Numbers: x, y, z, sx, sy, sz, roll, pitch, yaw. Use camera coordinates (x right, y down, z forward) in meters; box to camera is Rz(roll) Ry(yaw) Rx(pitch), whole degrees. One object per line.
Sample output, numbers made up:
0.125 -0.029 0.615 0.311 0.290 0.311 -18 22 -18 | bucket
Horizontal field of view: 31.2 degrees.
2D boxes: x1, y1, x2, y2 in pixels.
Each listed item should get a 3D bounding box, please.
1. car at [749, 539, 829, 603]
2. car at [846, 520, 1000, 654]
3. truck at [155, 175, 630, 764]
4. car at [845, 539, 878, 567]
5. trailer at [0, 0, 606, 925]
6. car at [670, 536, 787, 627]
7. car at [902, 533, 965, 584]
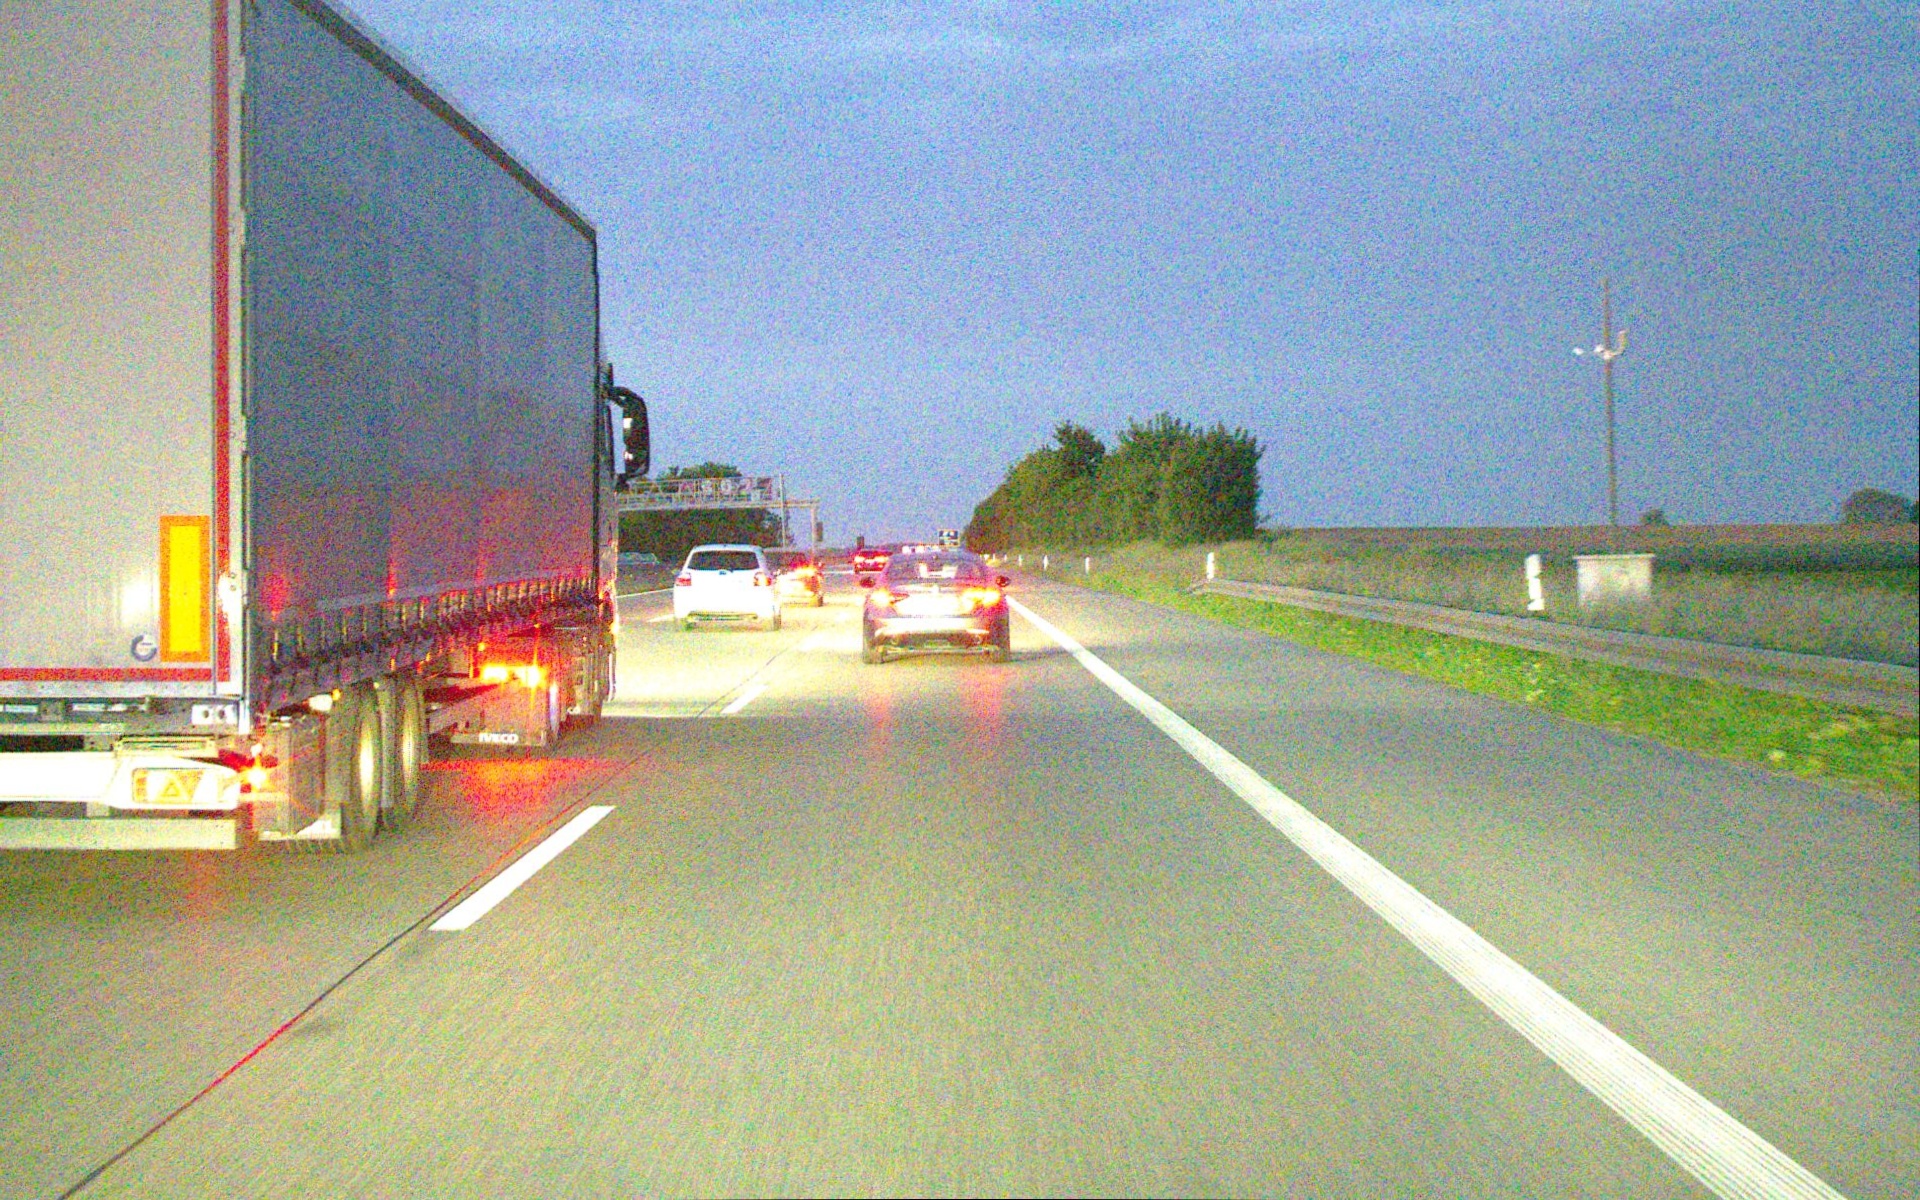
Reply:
-4.054 -0.690 82.136 1.722 1.466 4.726 1 0 -1 | car
-0.470 -0.178 44.474 1.880 1.637 4.000 1 0 0 | car
-4.251 -0.936 27.057 2.777 4.079 6.103 -1 0 -1 | truck
-5.657 -2.687 198.013 1.880 1.547 4.000 1 0 -1 | car
-4.140 -0.856 20.325 2.794 4.071 14.526 -1 0 -1 | trailer
-4.036 -0.335 60.572 1.744 1.519 4.414 1 0 0 | car
-0.836 -1.268 105.560 1.880 1.547 4.000 1 0 -1 | car
